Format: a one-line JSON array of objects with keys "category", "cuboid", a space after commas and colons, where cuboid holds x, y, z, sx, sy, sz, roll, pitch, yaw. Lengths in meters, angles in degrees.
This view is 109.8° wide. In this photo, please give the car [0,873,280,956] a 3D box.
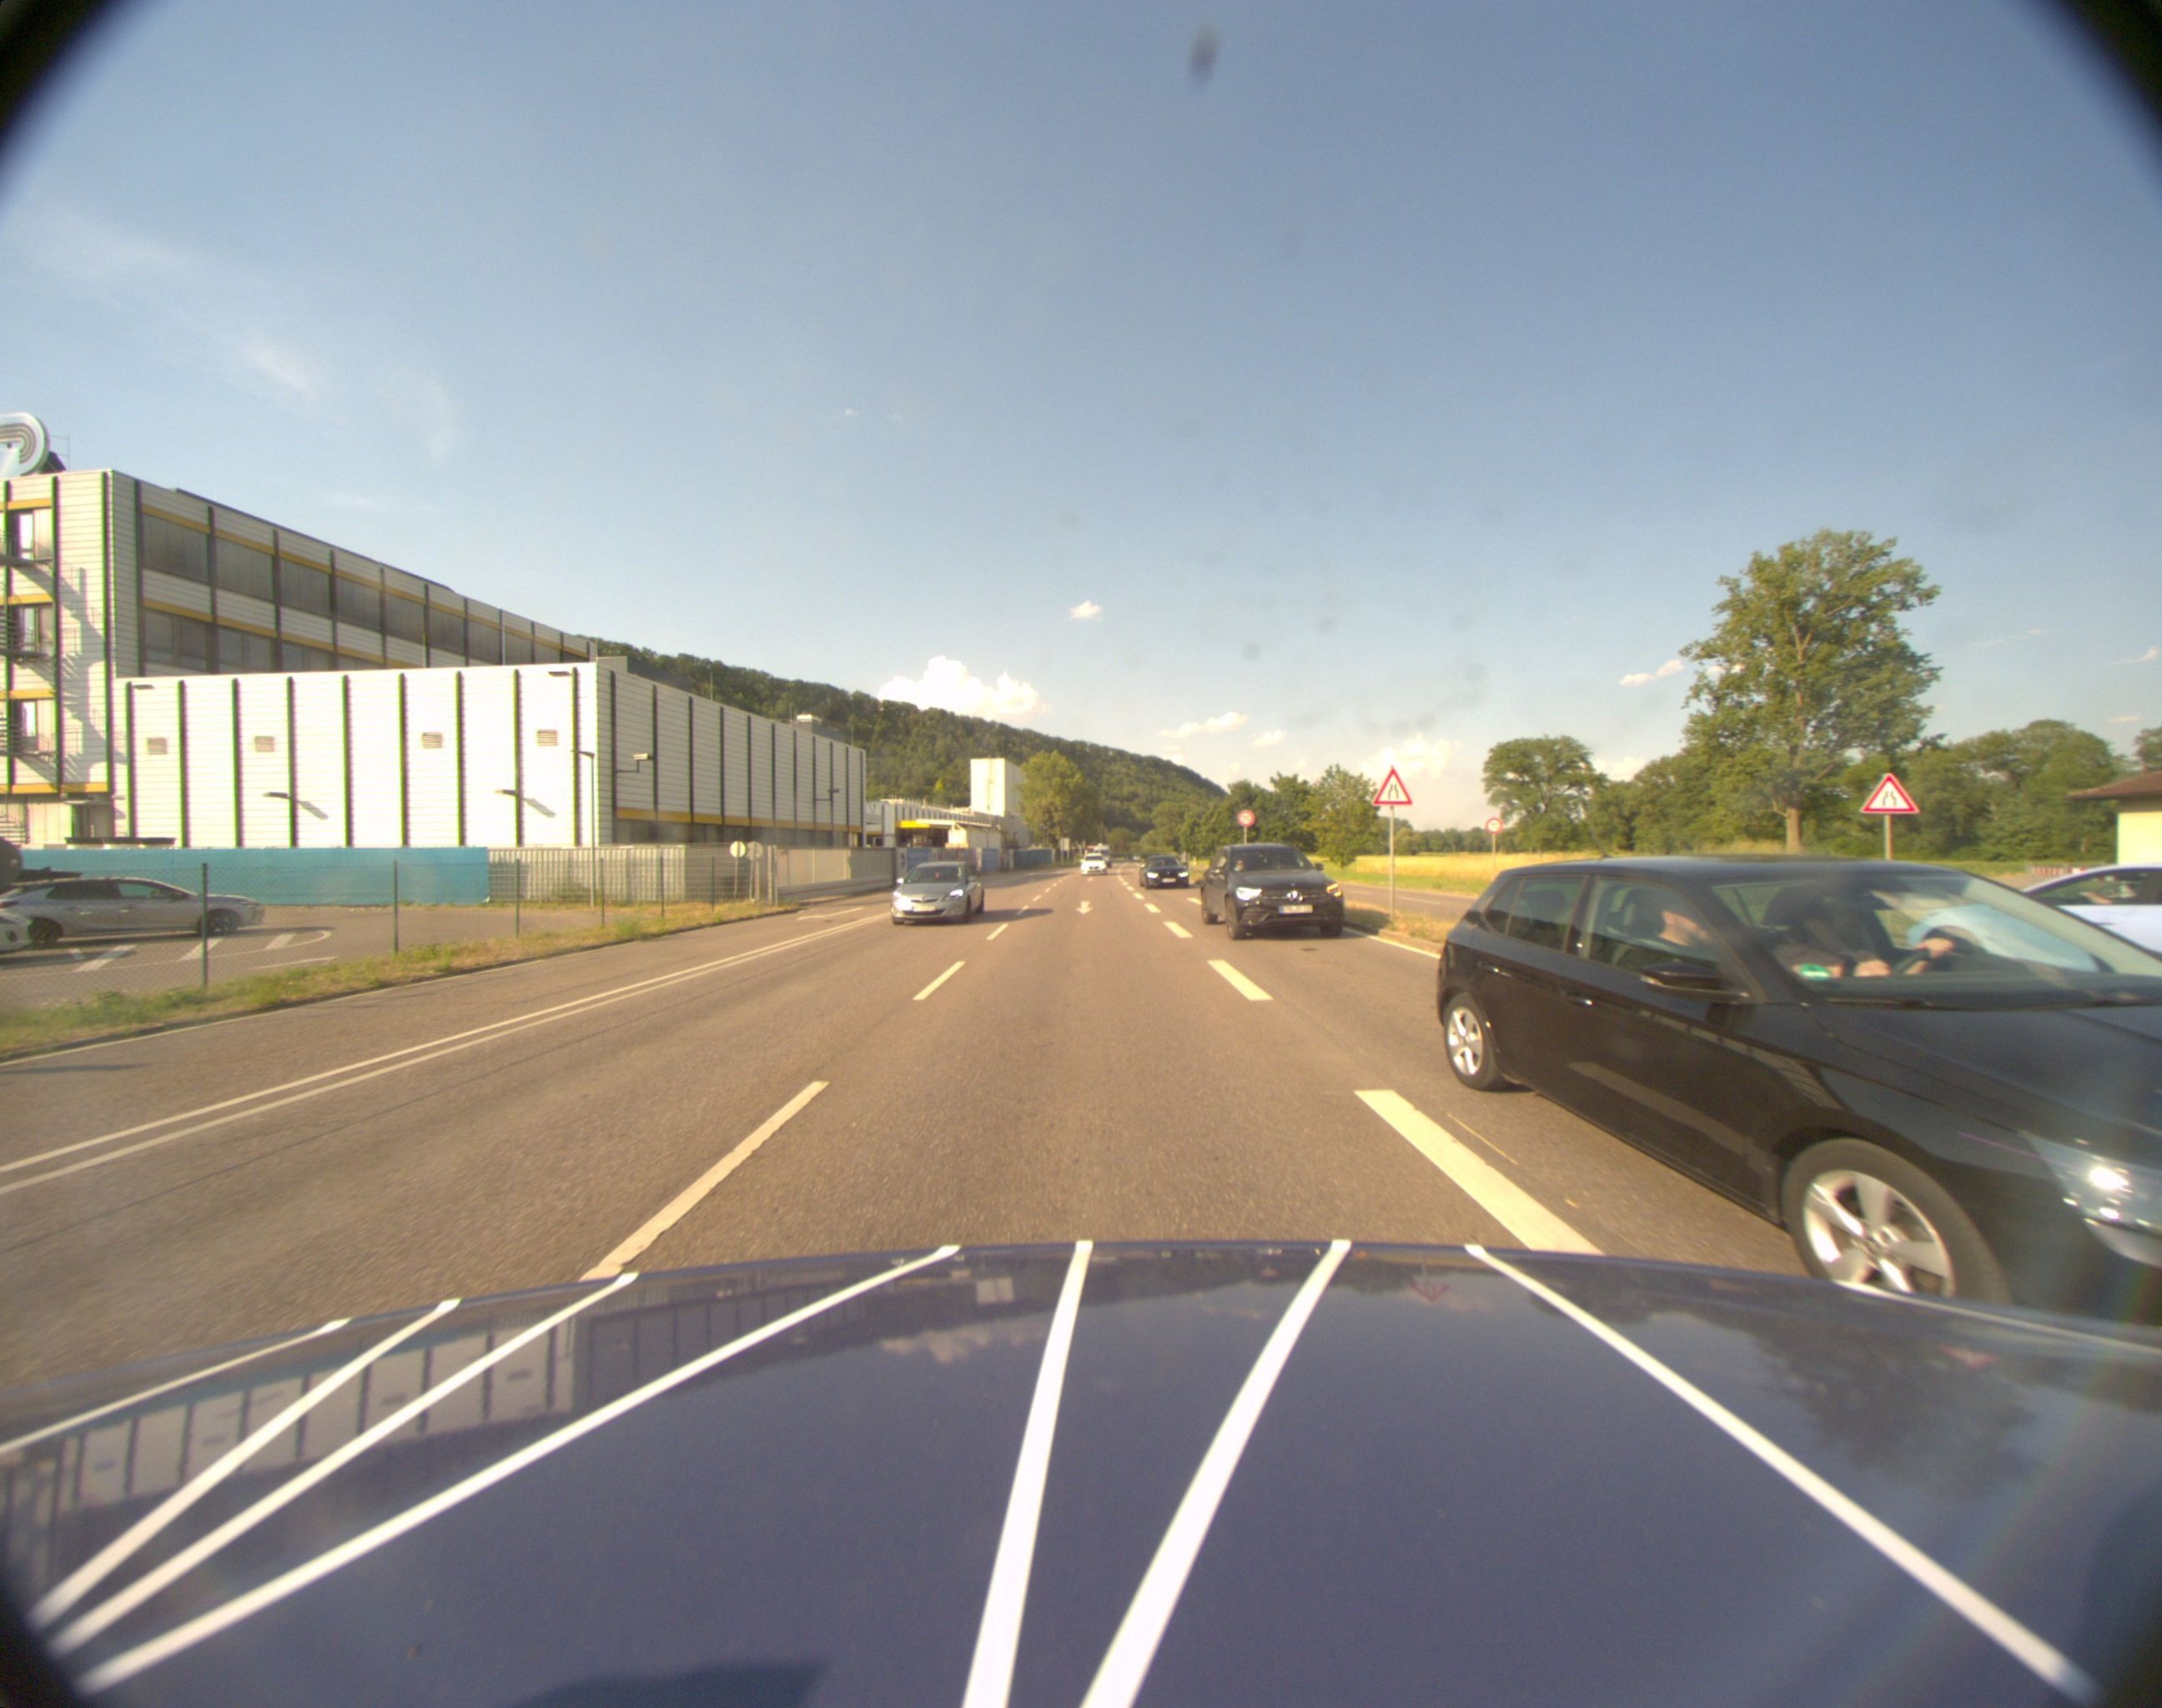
[{"category": "car", "cuboid": [-21.586, 1.290, 17.560, 1.872, 1.496, 3.914, -2, 1, 34]}]

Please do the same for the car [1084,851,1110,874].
[{"category": "car", "cuboid": [1.165, 0.605, 56.607, 1.825, 1.551, 3.999, -2, 1, 1]}]

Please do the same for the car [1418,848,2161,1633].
[{"category": "car", "cuboid": [3.057, 0.799, 3.071, 1.617, 1.565, 3.999, -2, 1, 1]}]

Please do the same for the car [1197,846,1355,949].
[{"category": "car", "cuboid": [3.407, 0.662, 14.104, 1.858, 1.565, 4.144, -2, 1, 1]}]

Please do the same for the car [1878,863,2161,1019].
[{"category": "car", "cuboid": [11.186, 0.873, 7.771, 1.713, 1.426, 4.144, 1, 1, 1]}]

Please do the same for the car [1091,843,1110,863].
[{"category": "car", "cuboid": [2.210, -0.161, 86.108, 1.795, 2.155, 4.588, 0, 1, -2]}]

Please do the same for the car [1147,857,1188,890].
[{"category": "car", "cuboid": [3.665, 0.798, 32.492, 1.642, 1.285, 3.885, 0, 1, 5]}]

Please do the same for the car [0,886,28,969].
[{"category": "car", "cuboid": [-21.464, 1.419, 13.037, 1.872, 1.496, 3.914, -2, 1, 36]}]

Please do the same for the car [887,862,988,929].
[{"category": "car", "cuboid": [-3.442, 0.941, 18.921, 1.690, 1.383, 3.883, -1, 1, 1]}]

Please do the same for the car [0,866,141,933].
[{"category": "car", "cuboid": [-26.585, 1.144, 19.056, 1.694, 1.521, 3.434, -2, 1, 26]}]
